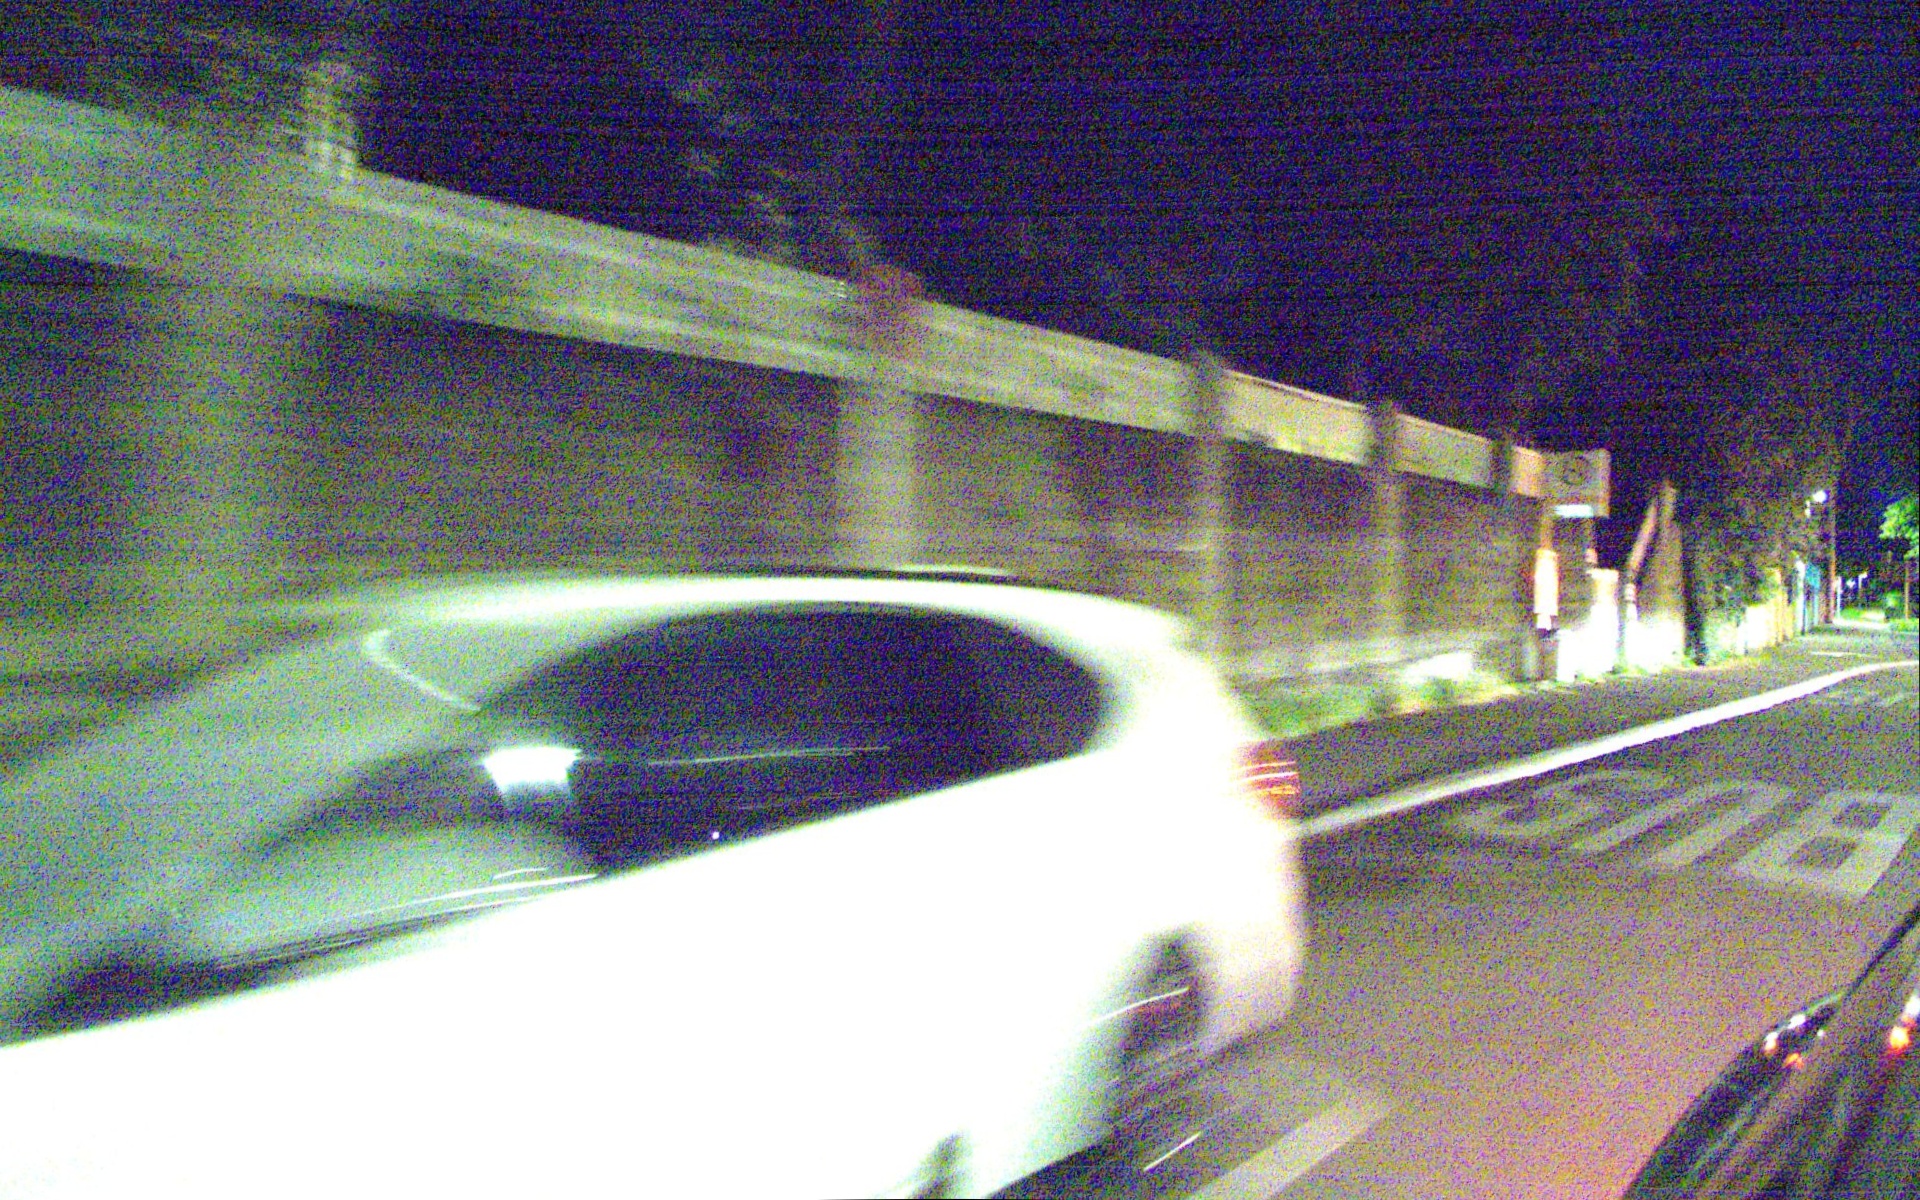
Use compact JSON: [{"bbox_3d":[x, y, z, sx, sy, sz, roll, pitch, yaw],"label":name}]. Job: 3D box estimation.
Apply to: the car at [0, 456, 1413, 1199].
[{"bbox_3d":[-0.960,0.659,2.282,4.644,1.614,1.758,0,-1,-40],"label":"car"}]
